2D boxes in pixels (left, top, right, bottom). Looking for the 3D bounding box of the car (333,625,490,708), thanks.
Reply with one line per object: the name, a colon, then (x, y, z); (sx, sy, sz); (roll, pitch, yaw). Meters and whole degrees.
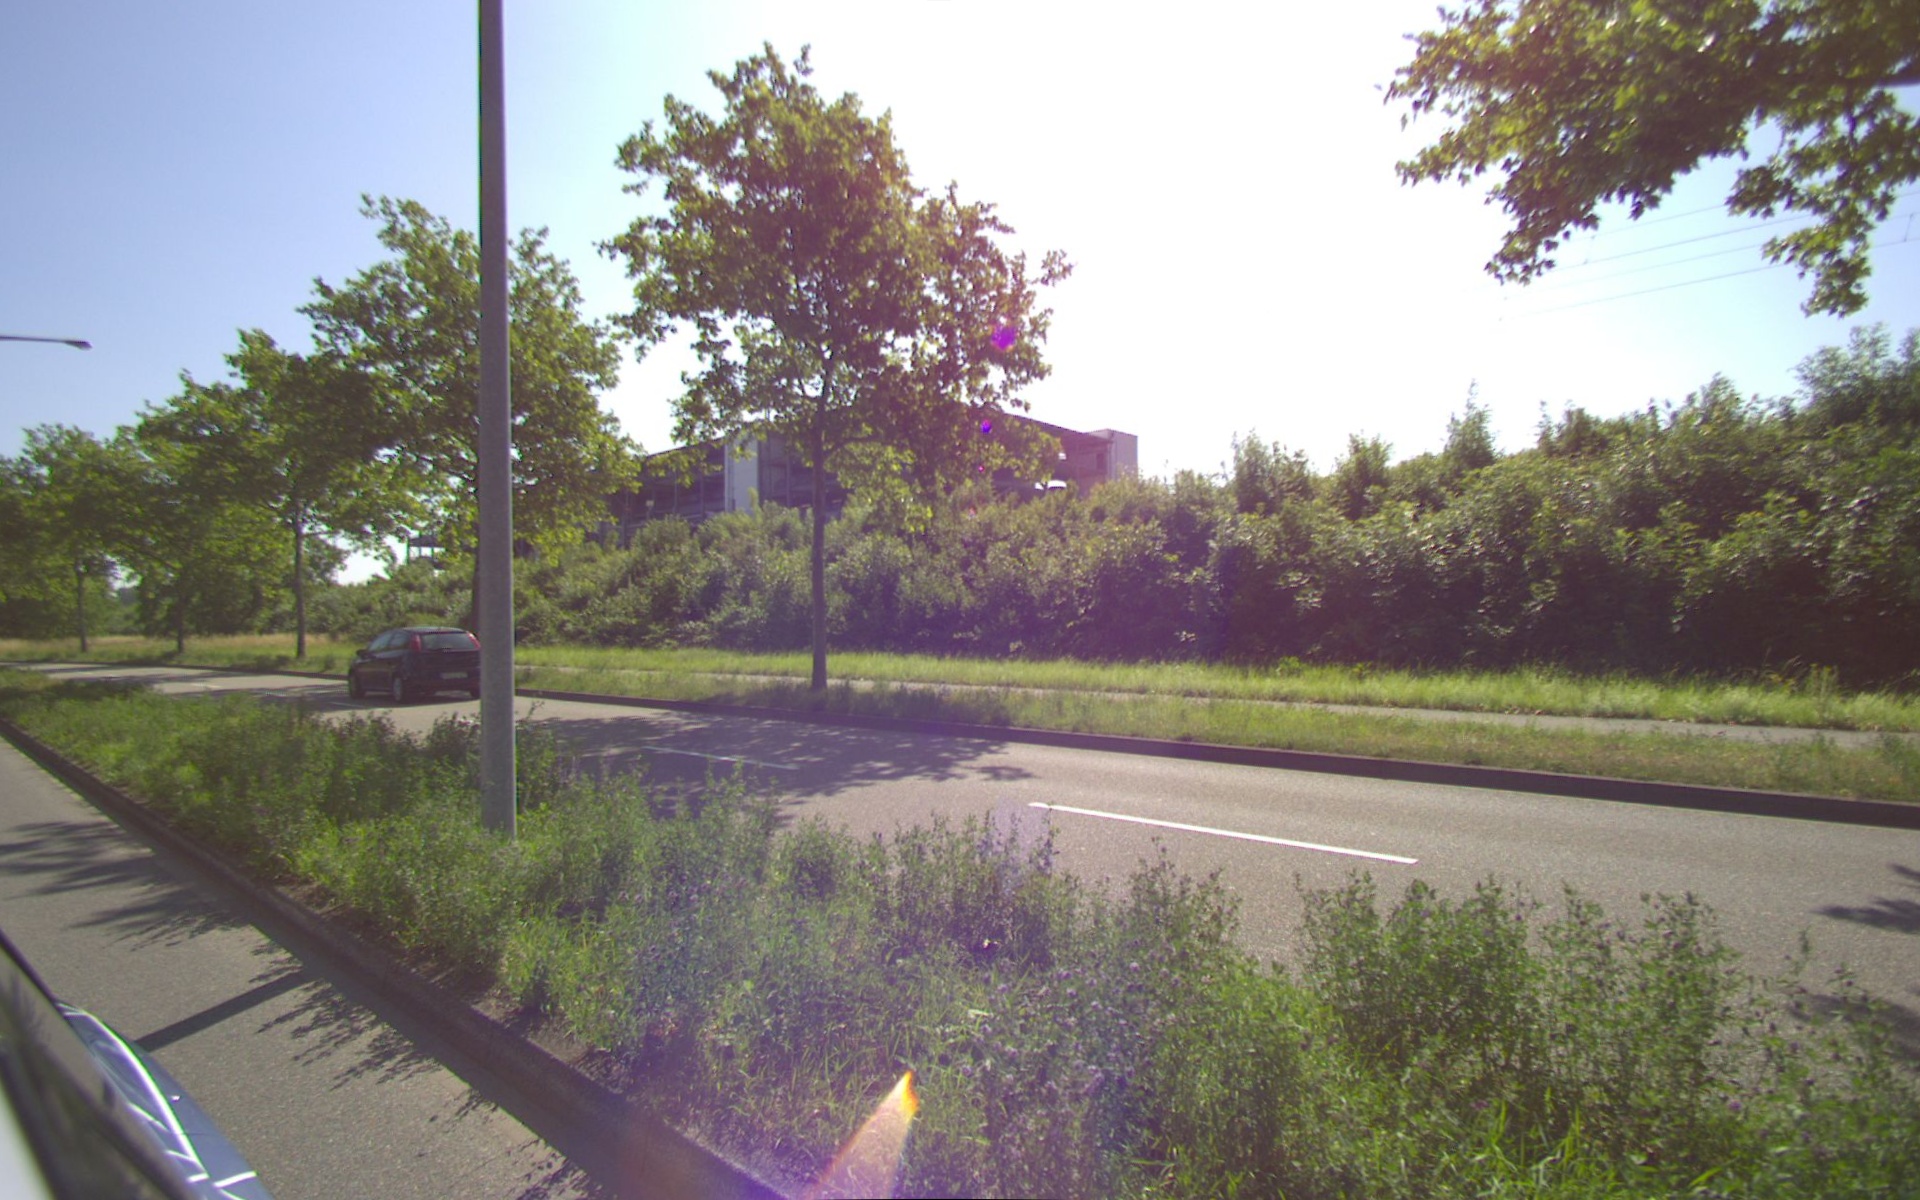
car: (-11.272, 1.290, 20.694); (3.926, 1.481, 1.553); (-2, 0, 42)
